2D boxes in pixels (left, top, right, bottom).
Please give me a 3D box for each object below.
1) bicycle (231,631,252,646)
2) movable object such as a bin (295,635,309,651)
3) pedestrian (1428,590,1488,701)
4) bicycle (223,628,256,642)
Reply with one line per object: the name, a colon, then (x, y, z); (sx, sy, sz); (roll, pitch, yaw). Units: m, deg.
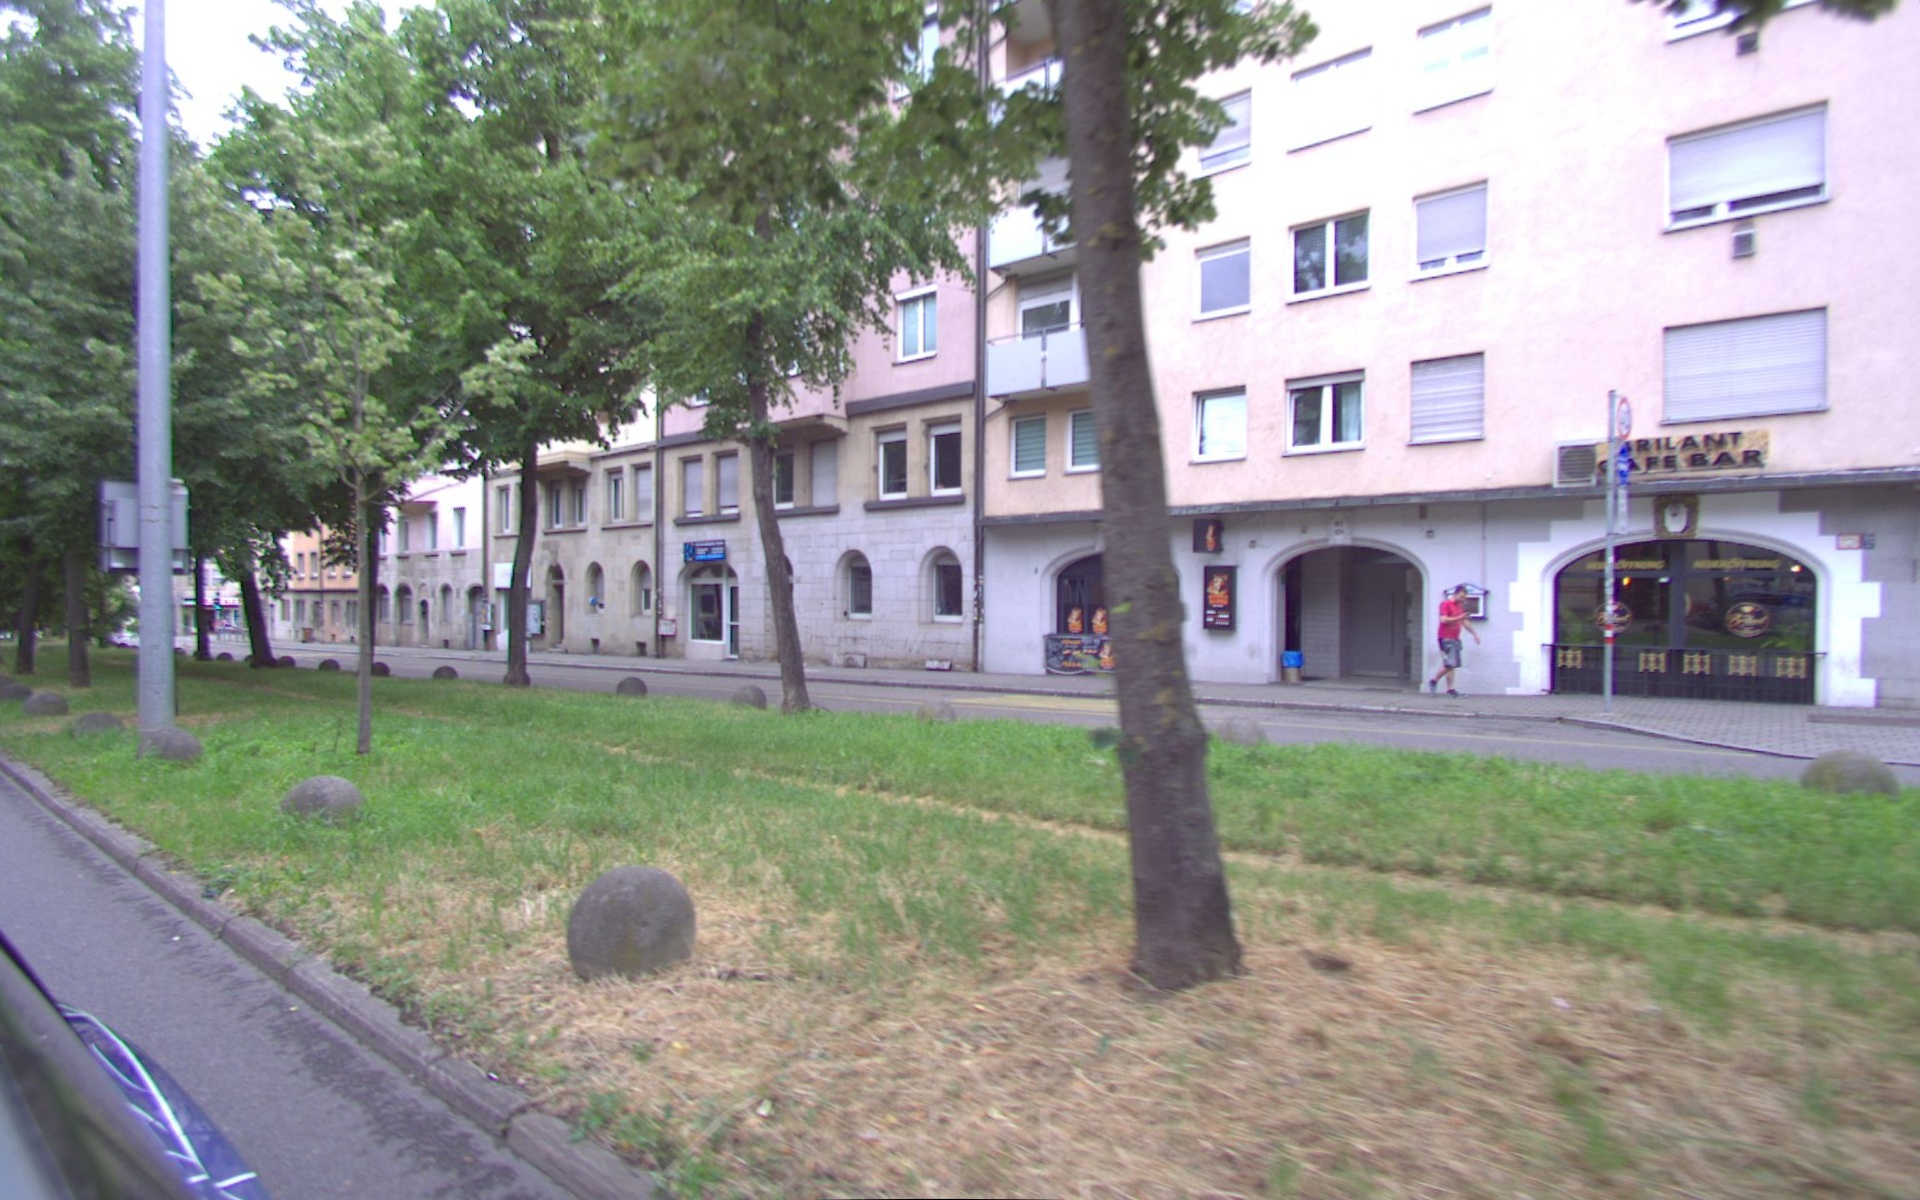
bicycle: (-57.463, 3.086, 80.920); (2.052, 1.158, 0.676); (-4, -1, 33)
movable object such as a bin: (-38.719, 2.526, 59.543); (0.779, 0.934, 0.506); (-2, -1, 45)
pedestrian: (7.729, 0.696, 15.719); (0.700, 1.679, 0.527); (-2, -1, 41)
bicycle: (-64.642, 3.148, 90.764); (2.309, 1.108, 0.777); (-2, 0, -27)
